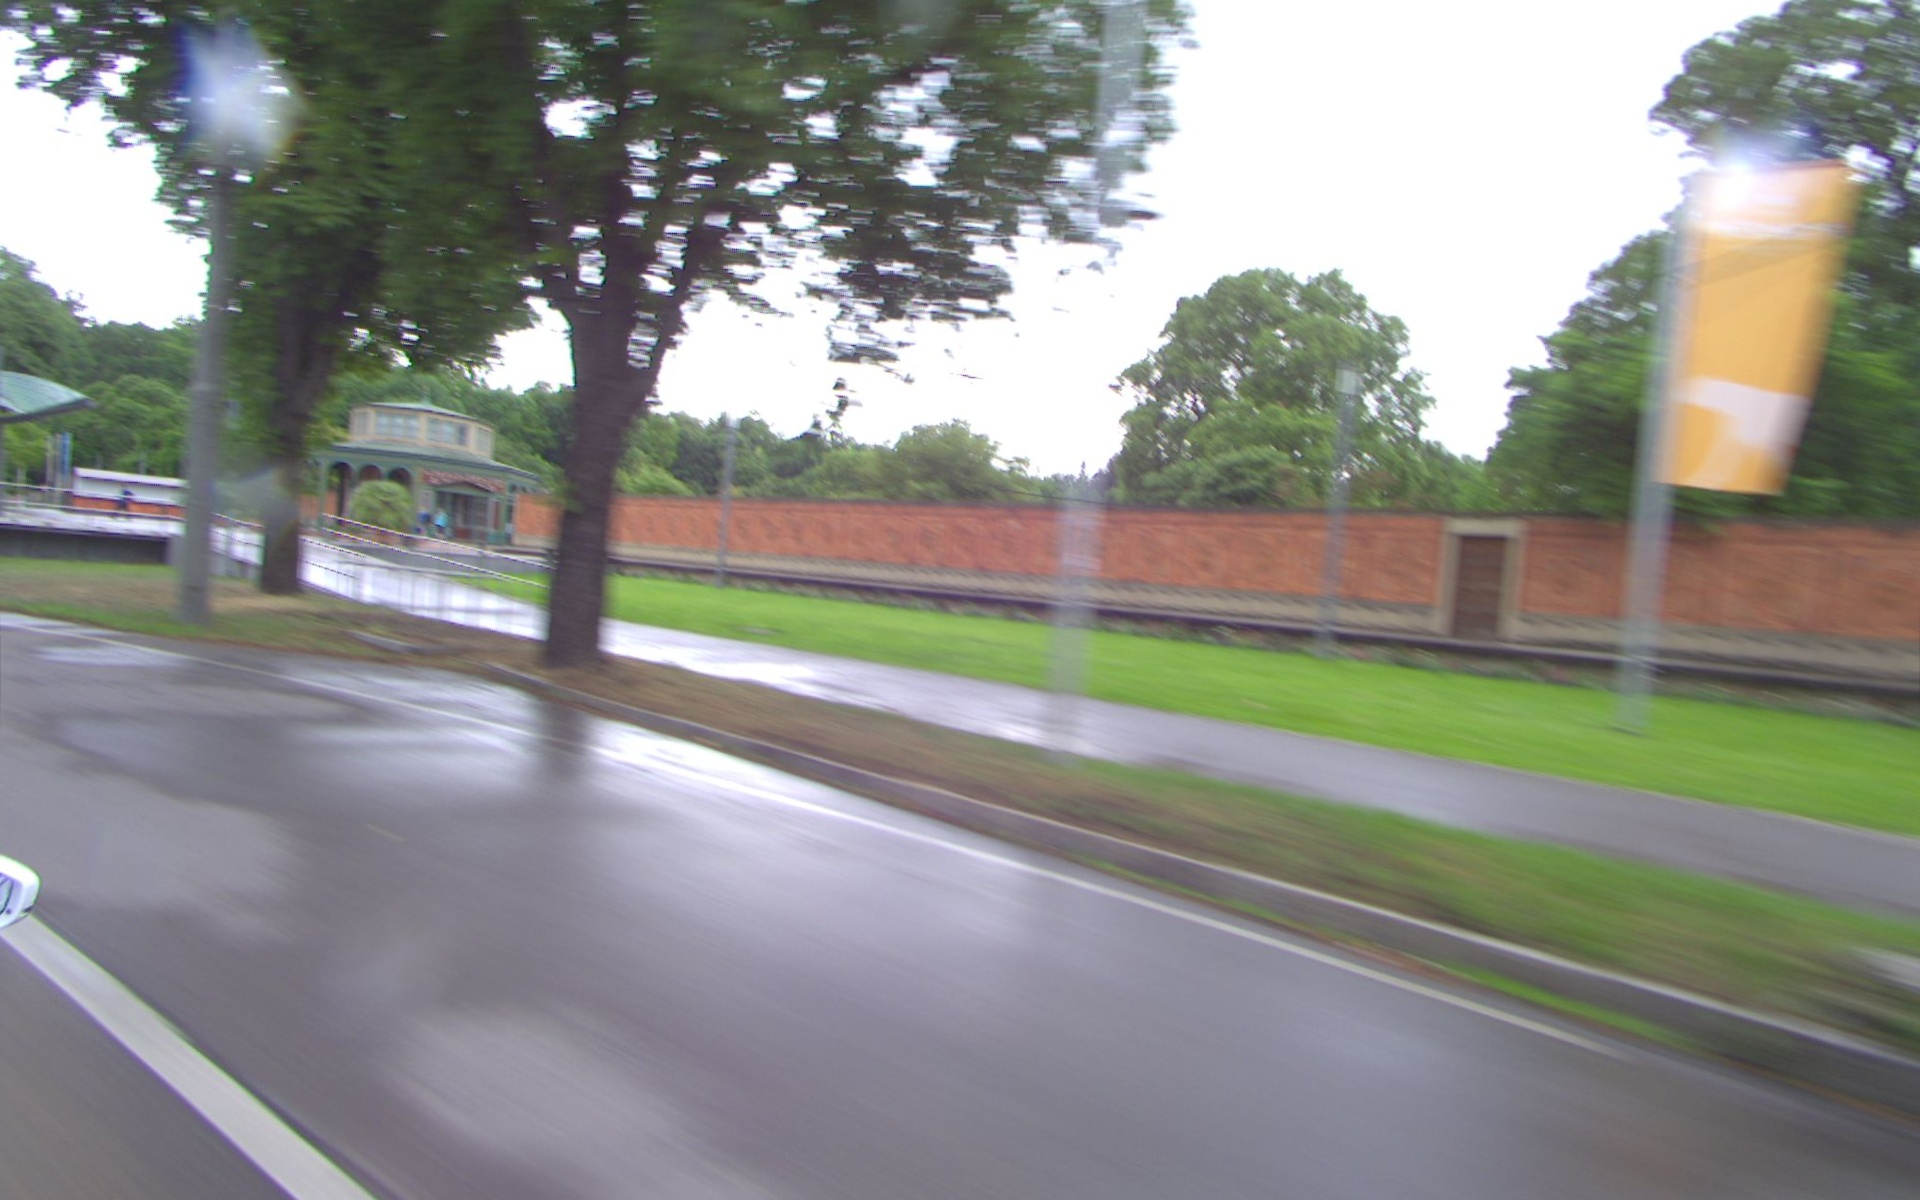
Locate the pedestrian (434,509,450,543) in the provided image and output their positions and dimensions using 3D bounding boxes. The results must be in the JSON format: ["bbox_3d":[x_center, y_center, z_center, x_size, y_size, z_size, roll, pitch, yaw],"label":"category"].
[{"bbox_3d":[-26.529,-3.796,51.539,0.542,1.678,0.468,4,2,-16],"label":"pedestrian"}]

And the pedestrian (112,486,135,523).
[{"bbox_3d":[-42.740,-4.879,51.417,1.165,1.816,0.718,7,6,41],"label":"pedestrian"}]

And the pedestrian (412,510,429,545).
[{"bbox_3d":[-27.563,-3.700,51.418,0.528,1.732,0.688,5,0,-38],"label":"pedestrian"}]
